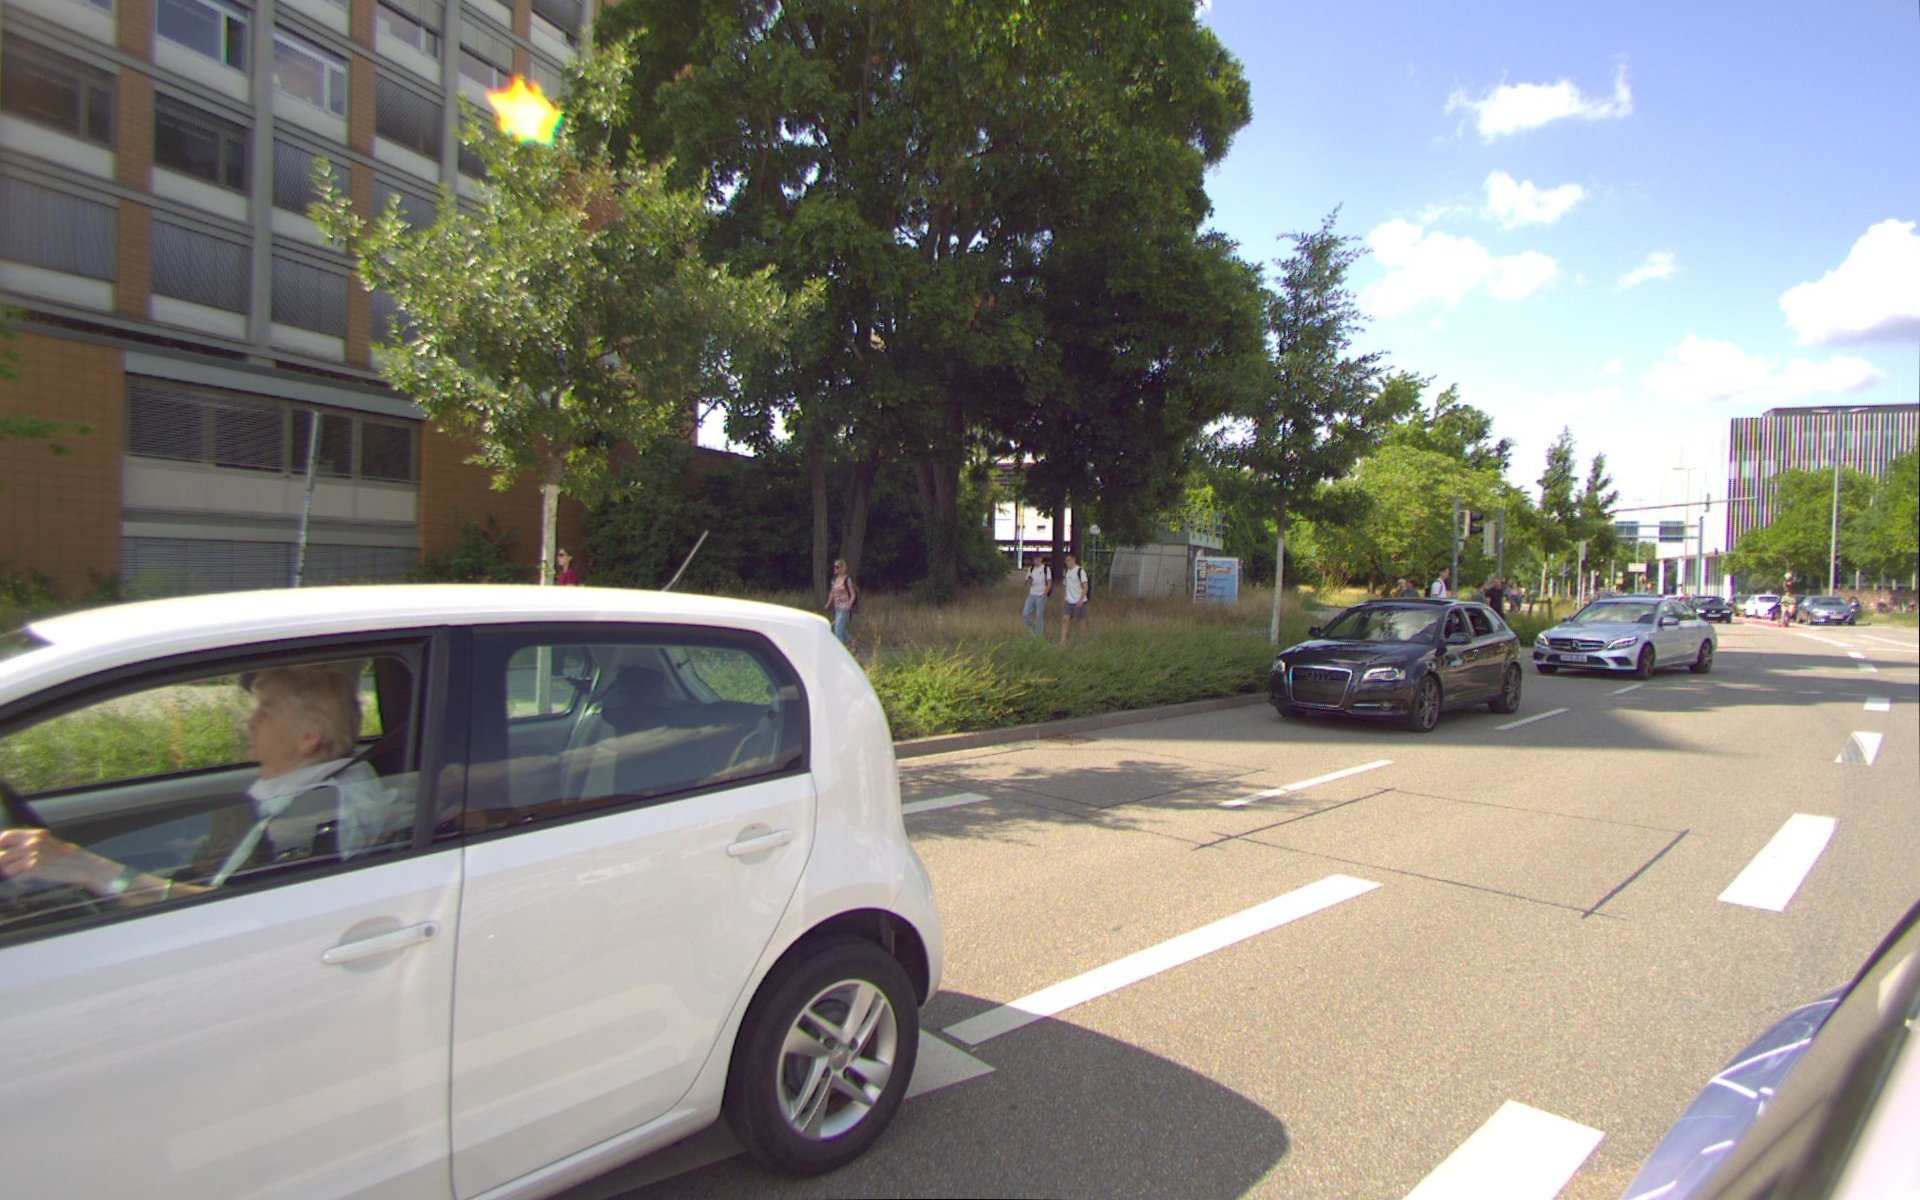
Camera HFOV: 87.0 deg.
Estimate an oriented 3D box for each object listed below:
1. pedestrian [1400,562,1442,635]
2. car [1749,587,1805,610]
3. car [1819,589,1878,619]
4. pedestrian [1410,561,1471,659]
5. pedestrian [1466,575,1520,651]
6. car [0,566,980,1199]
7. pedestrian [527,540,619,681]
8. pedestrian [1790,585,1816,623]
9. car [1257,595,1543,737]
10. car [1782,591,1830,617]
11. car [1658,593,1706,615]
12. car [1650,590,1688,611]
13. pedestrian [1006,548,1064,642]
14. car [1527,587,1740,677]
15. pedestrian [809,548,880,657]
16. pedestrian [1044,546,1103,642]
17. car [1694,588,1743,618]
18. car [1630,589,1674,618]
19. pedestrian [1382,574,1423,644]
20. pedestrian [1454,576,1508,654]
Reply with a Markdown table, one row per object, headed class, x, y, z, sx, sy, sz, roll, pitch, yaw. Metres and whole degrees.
| class | x | y | z | sx | sy | sz | roll | pitch | yaw |
| --- | --- | --- | --- | --- | --- | --- | --- | --- | --- |
| pedestrian | 11.345 | -0.037 | 24.903 | 0.765 | 1.757 | 0.708 | 0 | 0 | 41 |
| car | 50.418 | -0.103 | 62.538 | 1.761 | 1.371 | 3.966 | 0 | 1 | 25 |
| car | 43.832 | 0.152 | 49.987 | 1.990 | 1.393 | 4.210 | 1 | 1 | 39 |
| pedestrian | 10.285 | 0.193 | 21.667 | 0.755 | 2.039 | 0.963 | 0 | 0 | -43 |
| pedestrian | 12.638 | 0.297 | 23.996 | 0.755 | 1.757 | 0.926 | 0 | 0 | -43 |
| car | -1.925 | 0.657 | 2.091 | 3.934 | 1.439 | 1.651 | 0 | 2 | -44 |
| pedestrian | -4.722 | 0.106 | 12.349 | 0.874 | 1.642 | 0.615 | 0 | 4 | -41 |
| pedestrian | 39.496 | 0.181 | 47.440 | 0.731 | 1.736 | 0.868 | 0 | 0 | 27 |
| car | 5.435 | 0.658 | 12.258 | 4.063 | 1.389 | 1.701 | 0 | 1 | -43 |
| car | 47.053 | 0.201 | 56.357 | 1.722 | 1.351 | 3.742 | 0 | 1 | 35 |
| car | 41.410 | 0.196 | 58.116 | 1.582 | 1.148 | 3.597 | 1 | 1 | 25 |
| car | 44.720 | -0.014 | 63.842 | 1.898 | 1.148 | 4.052 | 1 | 3 | 35 |
| pedestrian | 1.426 | -0.112 | 19.266 | 0.614 | 1.720 | 0.876 | 5 | 4 | 44 |
| car | 12.945 | 0.510 | 19.361 | 4.670 | 1.473 | 1.936 | -1 | 2 | -37 |
| pedestrian | -1.827 | 0.026 | 15.994 | 0.614 | 1.642 | 0.876 | 5 | 4 | 44 |
| pedestrian | 2.104 | -0.120 | 18.817 | 0.614 | 1.720 | 0.876 | 5 | 4 | 44 |
| car | 39.830 | 0.122 | 53.195 | 1.815 | 1.481 | 3.951 | 1 | 1 | 34 |
| car | 36.788 | 0.155 | 53.779 | 1.816 | 1.481 | 3.948 | 1 | 1 | 36 |
| pedestrian | 11.264 | 0.219 | 25.770 | 0.765 | 1.757 | 0.708 | 0 | 0 | 41 |
| pedestrian | 12.083 | 0.329 | 23.471 | 0.755 | 1.757 | 0.926 | 0 | 0 | -43 |
